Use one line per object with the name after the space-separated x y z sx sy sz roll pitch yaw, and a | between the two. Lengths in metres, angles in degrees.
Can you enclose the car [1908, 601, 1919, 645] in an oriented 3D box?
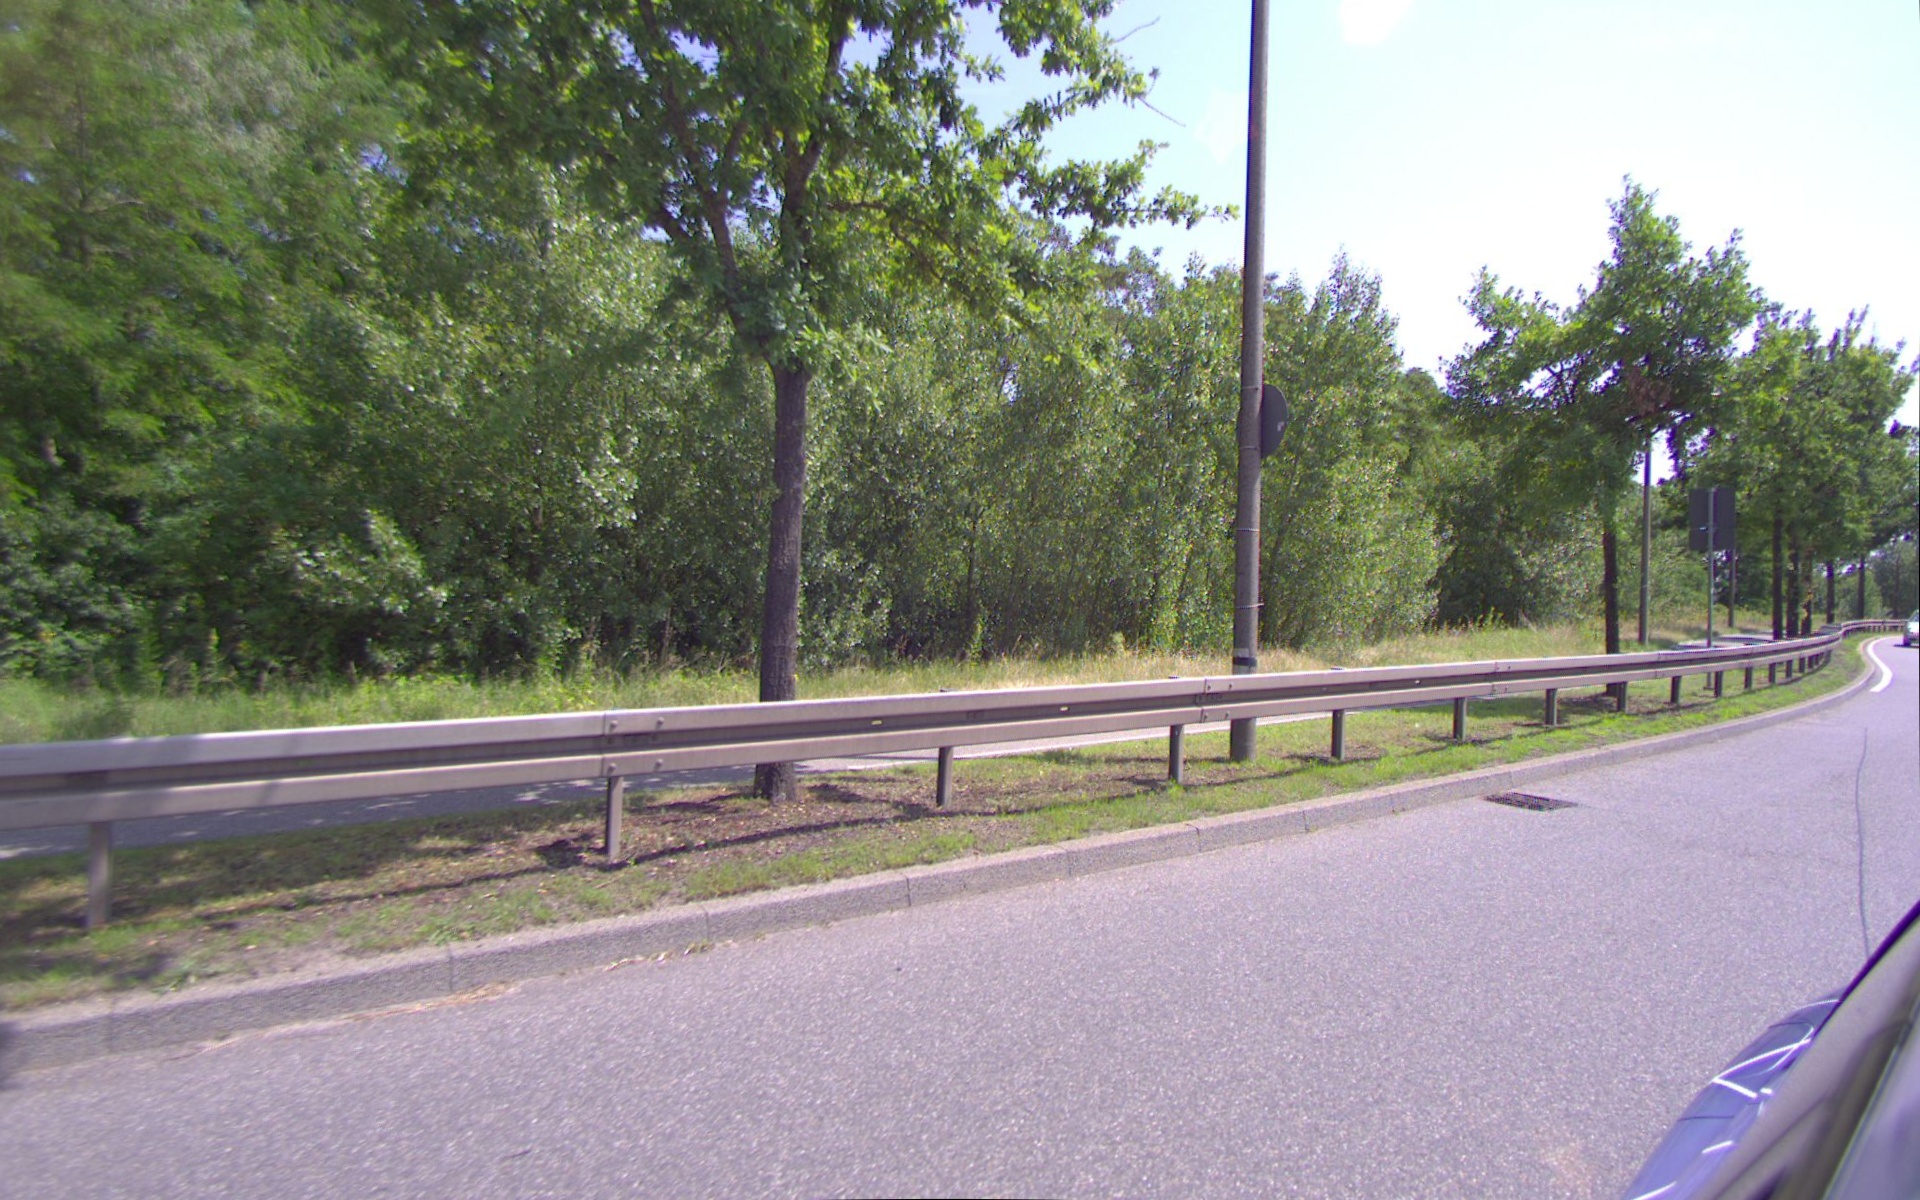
36.188 0.842 37.273 1.759 1.517 4.166 2 2 44 | car
